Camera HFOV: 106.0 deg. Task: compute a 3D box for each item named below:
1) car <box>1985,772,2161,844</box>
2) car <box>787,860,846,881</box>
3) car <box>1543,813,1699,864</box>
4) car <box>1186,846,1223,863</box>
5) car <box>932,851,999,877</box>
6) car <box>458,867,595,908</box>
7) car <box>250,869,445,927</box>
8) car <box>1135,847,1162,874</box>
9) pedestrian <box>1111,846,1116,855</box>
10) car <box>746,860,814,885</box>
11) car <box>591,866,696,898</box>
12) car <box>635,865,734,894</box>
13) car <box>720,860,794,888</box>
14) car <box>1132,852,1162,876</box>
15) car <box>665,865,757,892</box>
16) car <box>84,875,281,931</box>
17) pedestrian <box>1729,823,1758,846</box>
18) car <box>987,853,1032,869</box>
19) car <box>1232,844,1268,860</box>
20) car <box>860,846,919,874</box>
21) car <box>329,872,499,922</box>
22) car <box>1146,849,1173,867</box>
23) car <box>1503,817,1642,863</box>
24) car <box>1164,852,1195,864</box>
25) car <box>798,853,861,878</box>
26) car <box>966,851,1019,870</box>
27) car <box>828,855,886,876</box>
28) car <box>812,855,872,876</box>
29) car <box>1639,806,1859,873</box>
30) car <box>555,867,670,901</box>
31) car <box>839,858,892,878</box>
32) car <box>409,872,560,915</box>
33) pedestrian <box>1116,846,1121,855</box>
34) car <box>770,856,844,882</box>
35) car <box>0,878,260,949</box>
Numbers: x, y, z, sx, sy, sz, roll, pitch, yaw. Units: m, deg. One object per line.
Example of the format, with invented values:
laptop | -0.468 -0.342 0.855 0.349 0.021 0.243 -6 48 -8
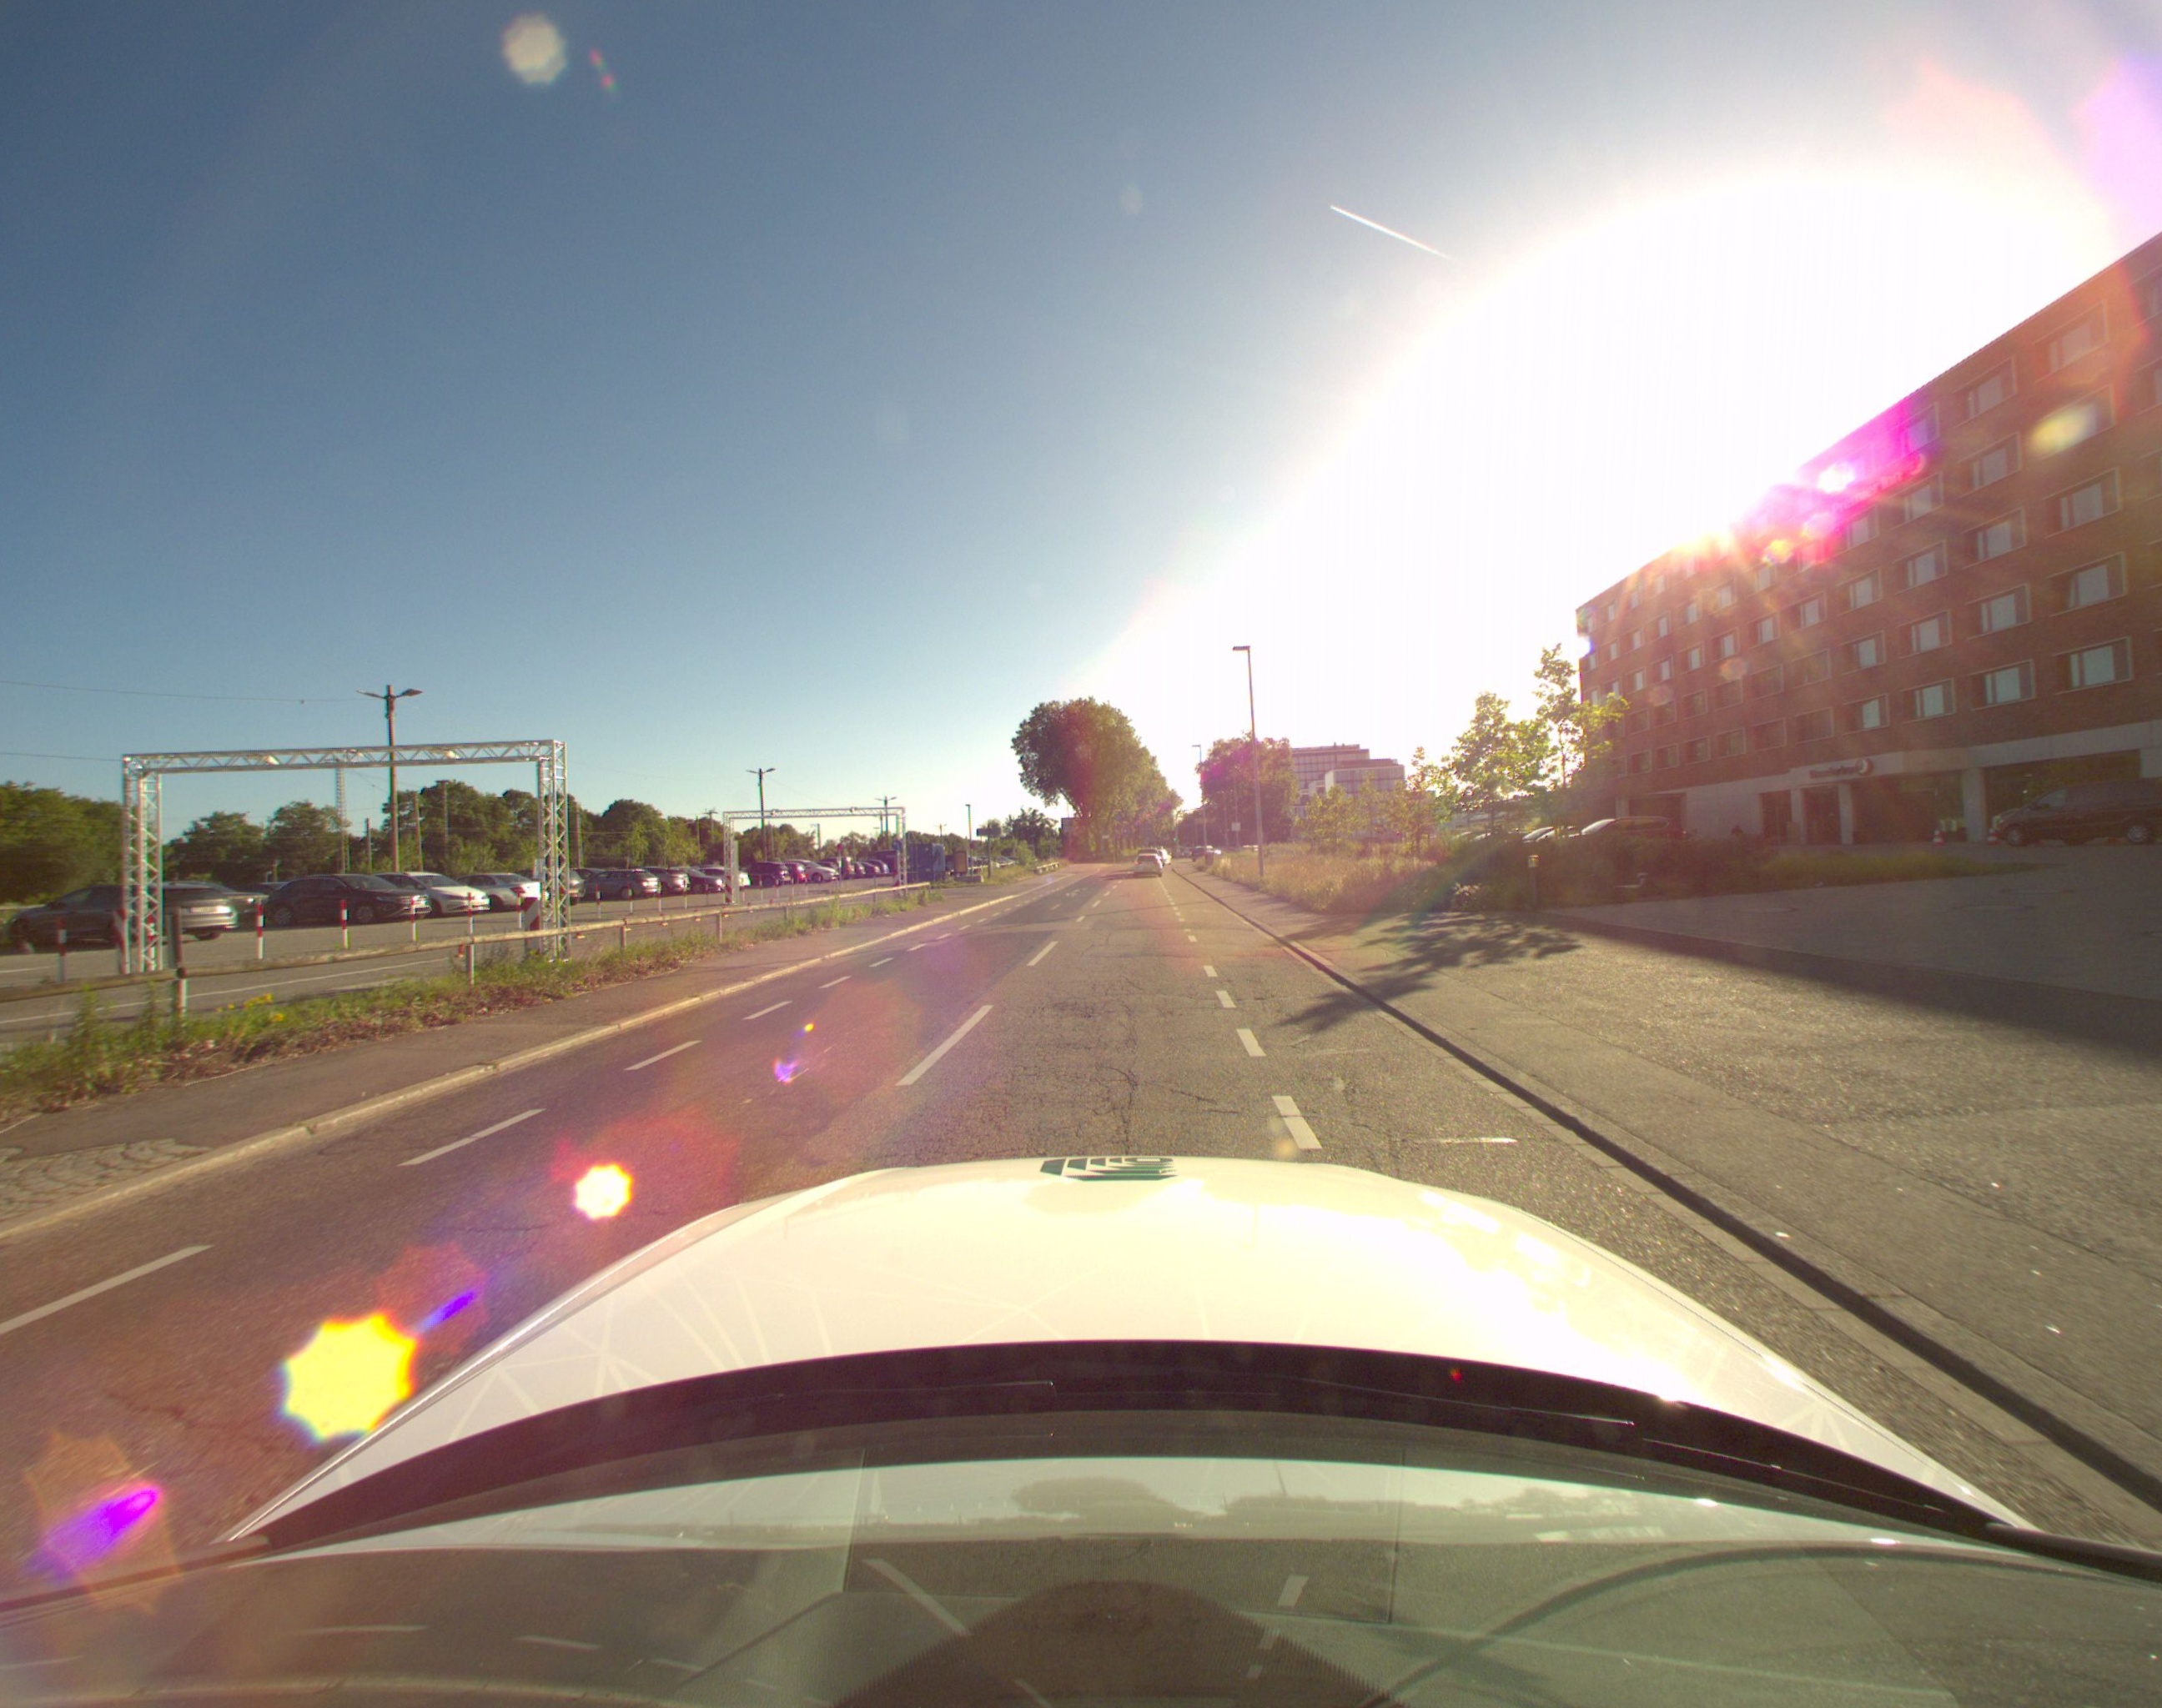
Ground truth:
car | 30.474 -1.293 24.304 1.961 1.935 4.801 -2 0 6
car | -20.174 1.253 62.225 3.866 1.520 1.880 -2 0 3
car | 18.751 -0.524 28.446 4.161 1.580 1.856 -2 0 8
car | 13.041 0.044 85.870 2.142 1.684 4.026 -3 0 38
car | -9.014 0.770 63.698 4.824 1.835 2.002 -2 0 3
car | -22.433 1.333 33.018 4.301 1.463 1.881 -2 0 5
car | -22.835 1.340 25.442 4.554 1.585 1.860 -2 0 5
car | 4.793 0.412 57.775 1.810 1.768 4.636 -1 0 5
pedestrian | 5.297 -0.610 134.063 0.675 1.415 0.685 -3 0 5
car | -20.788 1.272 56.321 3.866 1.520 1.880 -2 0 3
car | -22.095 1.393 41.232 4.303 1.419 1.880 -2 0 3
car | -21.211 1.373 43.665 4.303 1.376 1.880 -2 0 3
car | -20.612 1.268 51.892 3.866 1.603 1.880 -2 0 3
car | 4.160 0.598 51.021 1.781 1.420 4.006 -1 0 5
car | -21.068 1.374 46.481 4.303 1.376 1.880 -2 0 3
car | -28.102 1.517 25.550 4.301 1.523 1.881 -2 0 5
pedestrian | 38.922 -1.150 47.867 0.924 1.310 1.011 -2 0 5
car | -7.561 0.758 86.174 4.406 1.557 1.880 -2 0 3
car | 19.735 -0.237 94.954 2.143 1.684 4.024 -3 0 44
car | -18.247 0.535 77.666 4.905 2.459 2.322 -2 0 3
car | -22.598 1.437 27.686 4.301 1.523 1.881 -2 0 5
car | 7.398 0.355 76.490 1.884 1.596 4.016 -2 0 15
car | 18.818 -0.532 31.346 4.161 1.580 1.856 -2 0 8
car | 13.344 0.546 110.469 2.008 1.596 3.959 -2 0 -33
car | -19.994 0.907 64.856 4.303 1.791 1.880 -2 0 3
car | -8.103 0.582 74.877 4.522 1.557 1.880 -2 0 3
car | -19.249 0.979 70.084 4.303 1.618 1.880 -2 0 3
car | -19.799 0.949 67.586 4.303 1.618 1.880 -2 0 3
car | 17.631 -0.363 21.691 4.161 1.580 1.856 -2 0 8
car | -21.982 1.387 38.338 4.303 1.419 1.880 -2 0 3
car | -19.211 1.220 72.690 4.189 1.618 1.880 -2 0 3
car | -22.202 1.467 30.415 4.301 1.393 1.881 -2 0 5
pedestrian | 6.130 -0.633 133.936 0.675 1.415 0.685 -3 0 5
car | -19.881 1.089 59.128 4.554 1.741 2.063 -1 0 8
car | -23.081 1.416 19.786 4.551 1.480 1.995 -1 0 7
